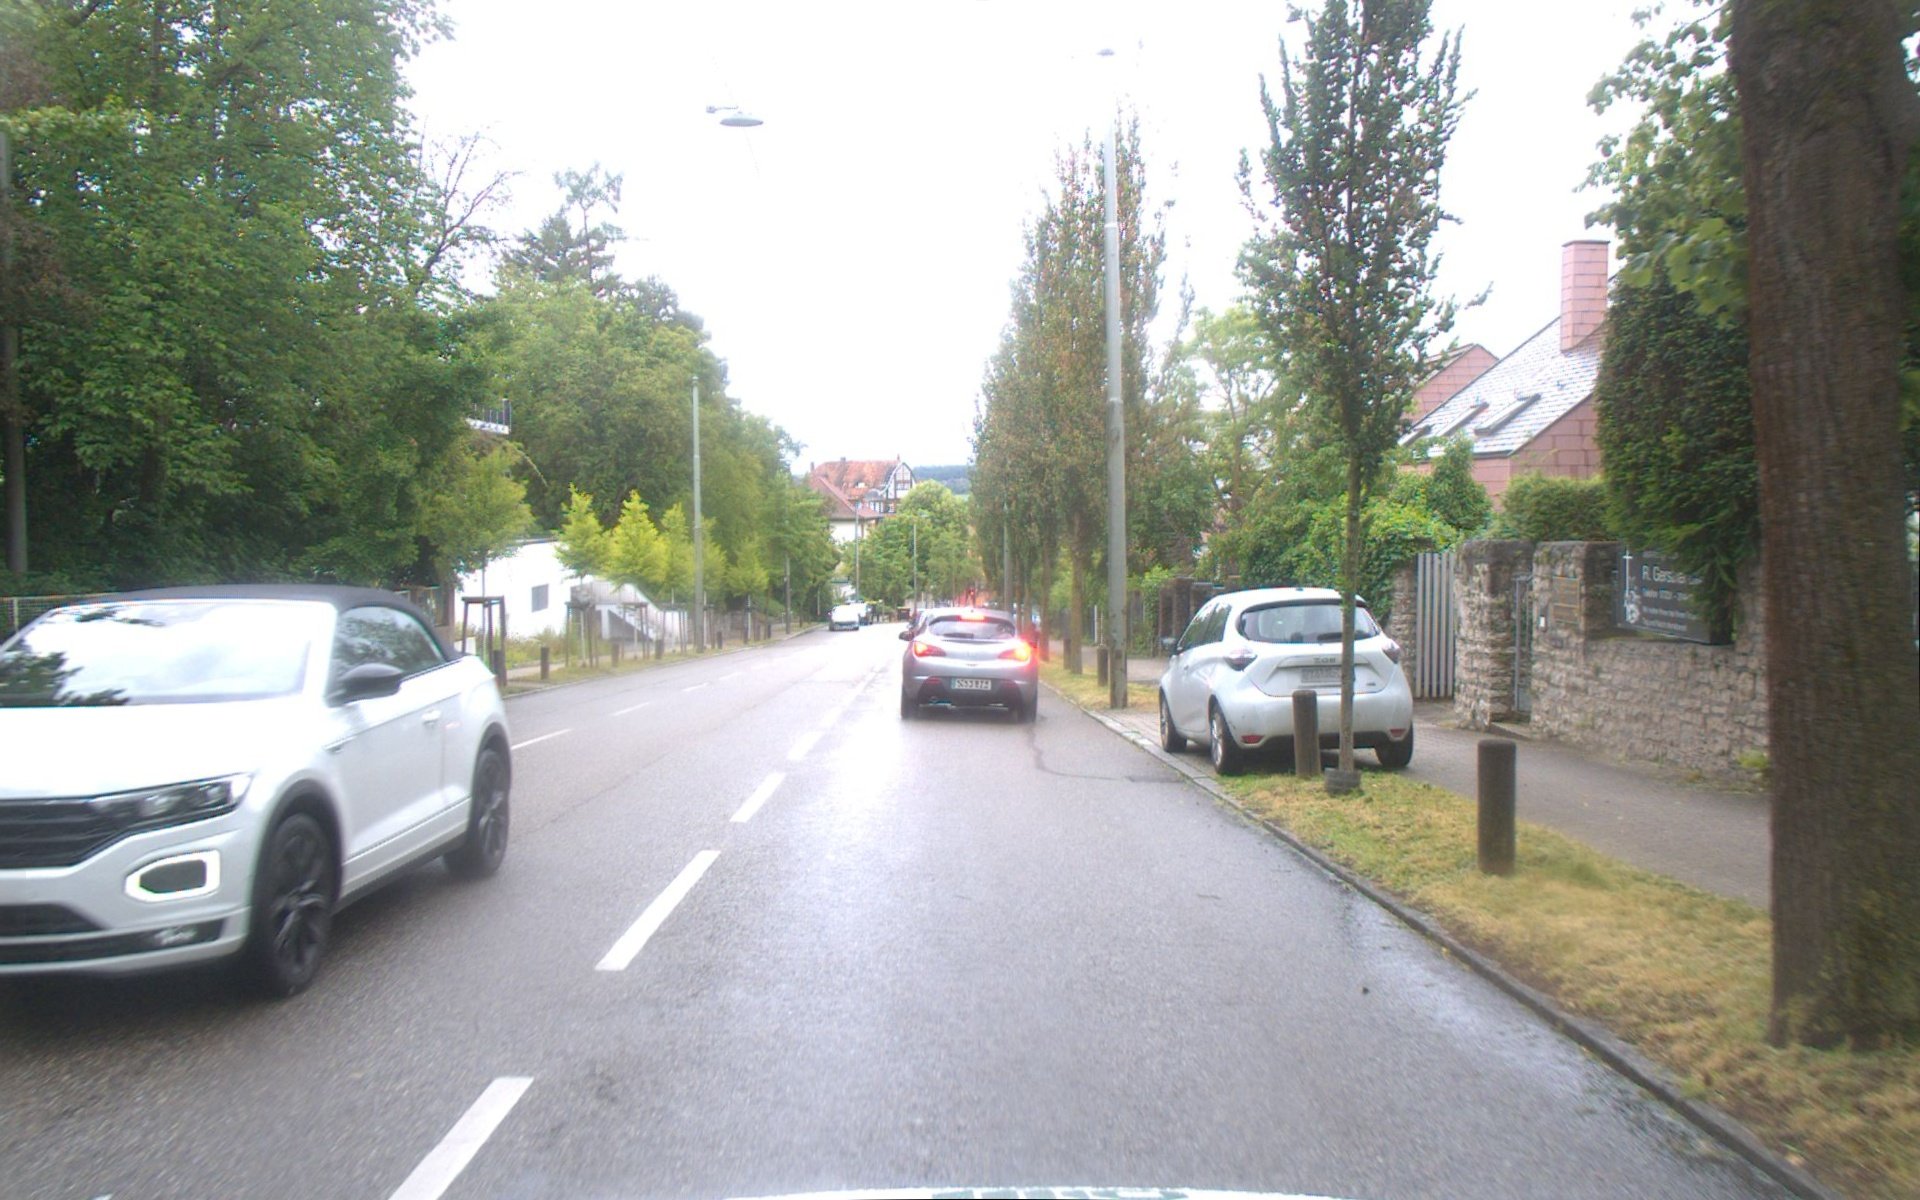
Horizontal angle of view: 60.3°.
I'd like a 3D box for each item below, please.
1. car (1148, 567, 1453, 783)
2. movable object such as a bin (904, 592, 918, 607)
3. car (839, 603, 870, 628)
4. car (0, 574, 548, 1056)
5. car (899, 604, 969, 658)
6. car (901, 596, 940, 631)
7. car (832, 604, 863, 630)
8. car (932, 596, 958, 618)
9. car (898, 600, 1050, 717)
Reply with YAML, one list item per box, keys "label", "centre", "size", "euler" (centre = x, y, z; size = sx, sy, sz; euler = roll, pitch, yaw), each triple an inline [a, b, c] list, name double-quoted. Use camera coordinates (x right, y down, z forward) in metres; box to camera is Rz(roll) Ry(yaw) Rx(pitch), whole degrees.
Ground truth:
- label: "car"
  centre: [2.982, 0.599, 15.372]
  size: [1.788, 1.658, 3.998]
  euler: [-3, 0, -3]
- label: "movable object such as a bin"
  centre: [-4.656, -0.073, 157.070]
  size: [1.245, 1.411, 0.489]
  euler: [1, 1, 4]
- label: "car"
  centre: [-7.102, 1.022, 111.404]
  size: [1.709, 1.576, 3.918]
  euler: [2, 0, 1]
- label: "car"
  centre: [-3.194, 0.695, 7.342]
  size: [1.757, 1.536, 4.093]
  euler: [0, 0, -1]
- label: "car"
  centre: [-0.660, 0.803, 44.560]
  size: [1.760, 1.346, 4.001]
  euler: [0, 0, 1]
- label: "car"
  centre: [-2.170, 0.738, 92.597]
  size: [1.731, 1.812, 3.979]
  euler: [2, 1, 4]
- label: "car"
  centre: [-6.806, 1.025, 100.548]
  size: [1.726, 1.512, 3.998]
  euler: [-2, 0, -3]
- label: "car"
  centre: [-1.246, 0.546, 135.198]
  size: [1.717, 1.679, 4.002]
  euler: [2, 0, 4]
- label: "car"
  centre: [0.153, 0.747, 22.933]
  size: [1.906, 1.457, 3.883]
  euler: [1, 0, -1]
